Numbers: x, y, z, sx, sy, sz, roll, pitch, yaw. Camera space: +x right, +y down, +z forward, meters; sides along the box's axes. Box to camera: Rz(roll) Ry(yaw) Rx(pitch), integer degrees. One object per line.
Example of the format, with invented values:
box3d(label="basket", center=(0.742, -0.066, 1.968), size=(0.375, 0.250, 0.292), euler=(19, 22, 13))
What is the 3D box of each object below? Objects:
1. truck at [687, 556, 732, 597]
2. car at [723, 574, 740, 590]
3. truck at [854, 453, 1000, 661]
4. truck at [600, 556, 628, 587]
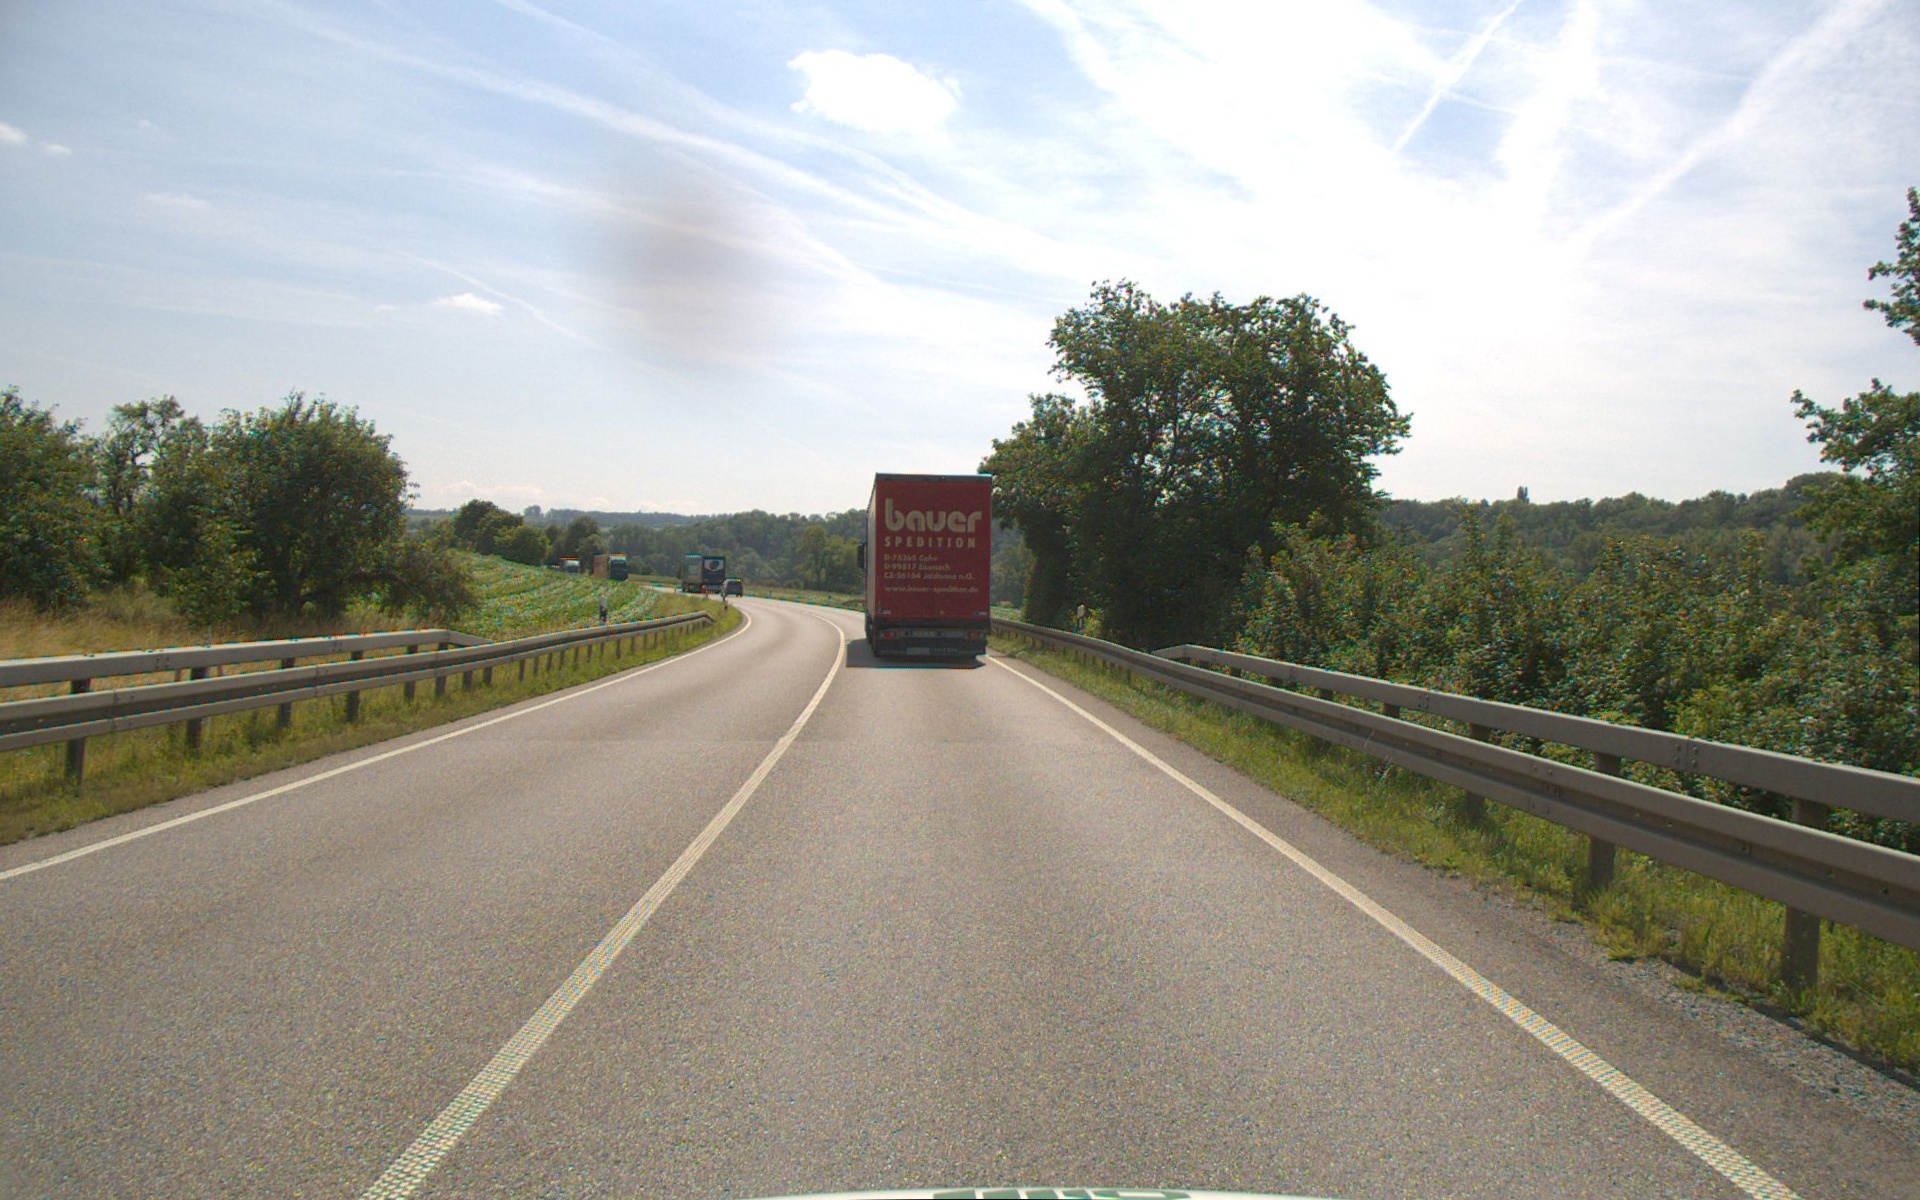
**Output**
box3d(label="truck", center=(-27.967, -2.524, 184.020), size=(3.580, 4.367, 11.935), euler=(1, 0, -15))
box3d(label="car", center=(-22.376, -1.745, 161.816), size=(1.551, 1.527, 3.871), euler=(1, 1, -7))
box3d(label="truck", center=(-0.697, -0.916, 38.851), size=(3.031, 4.337, 8.314), euler=(1, 0, 0))
box3d(label="truck", center=(-48.128, -3.933, 229.658), size=(2.725, 4.068, 16.956), euler=(1, 1, -16))
